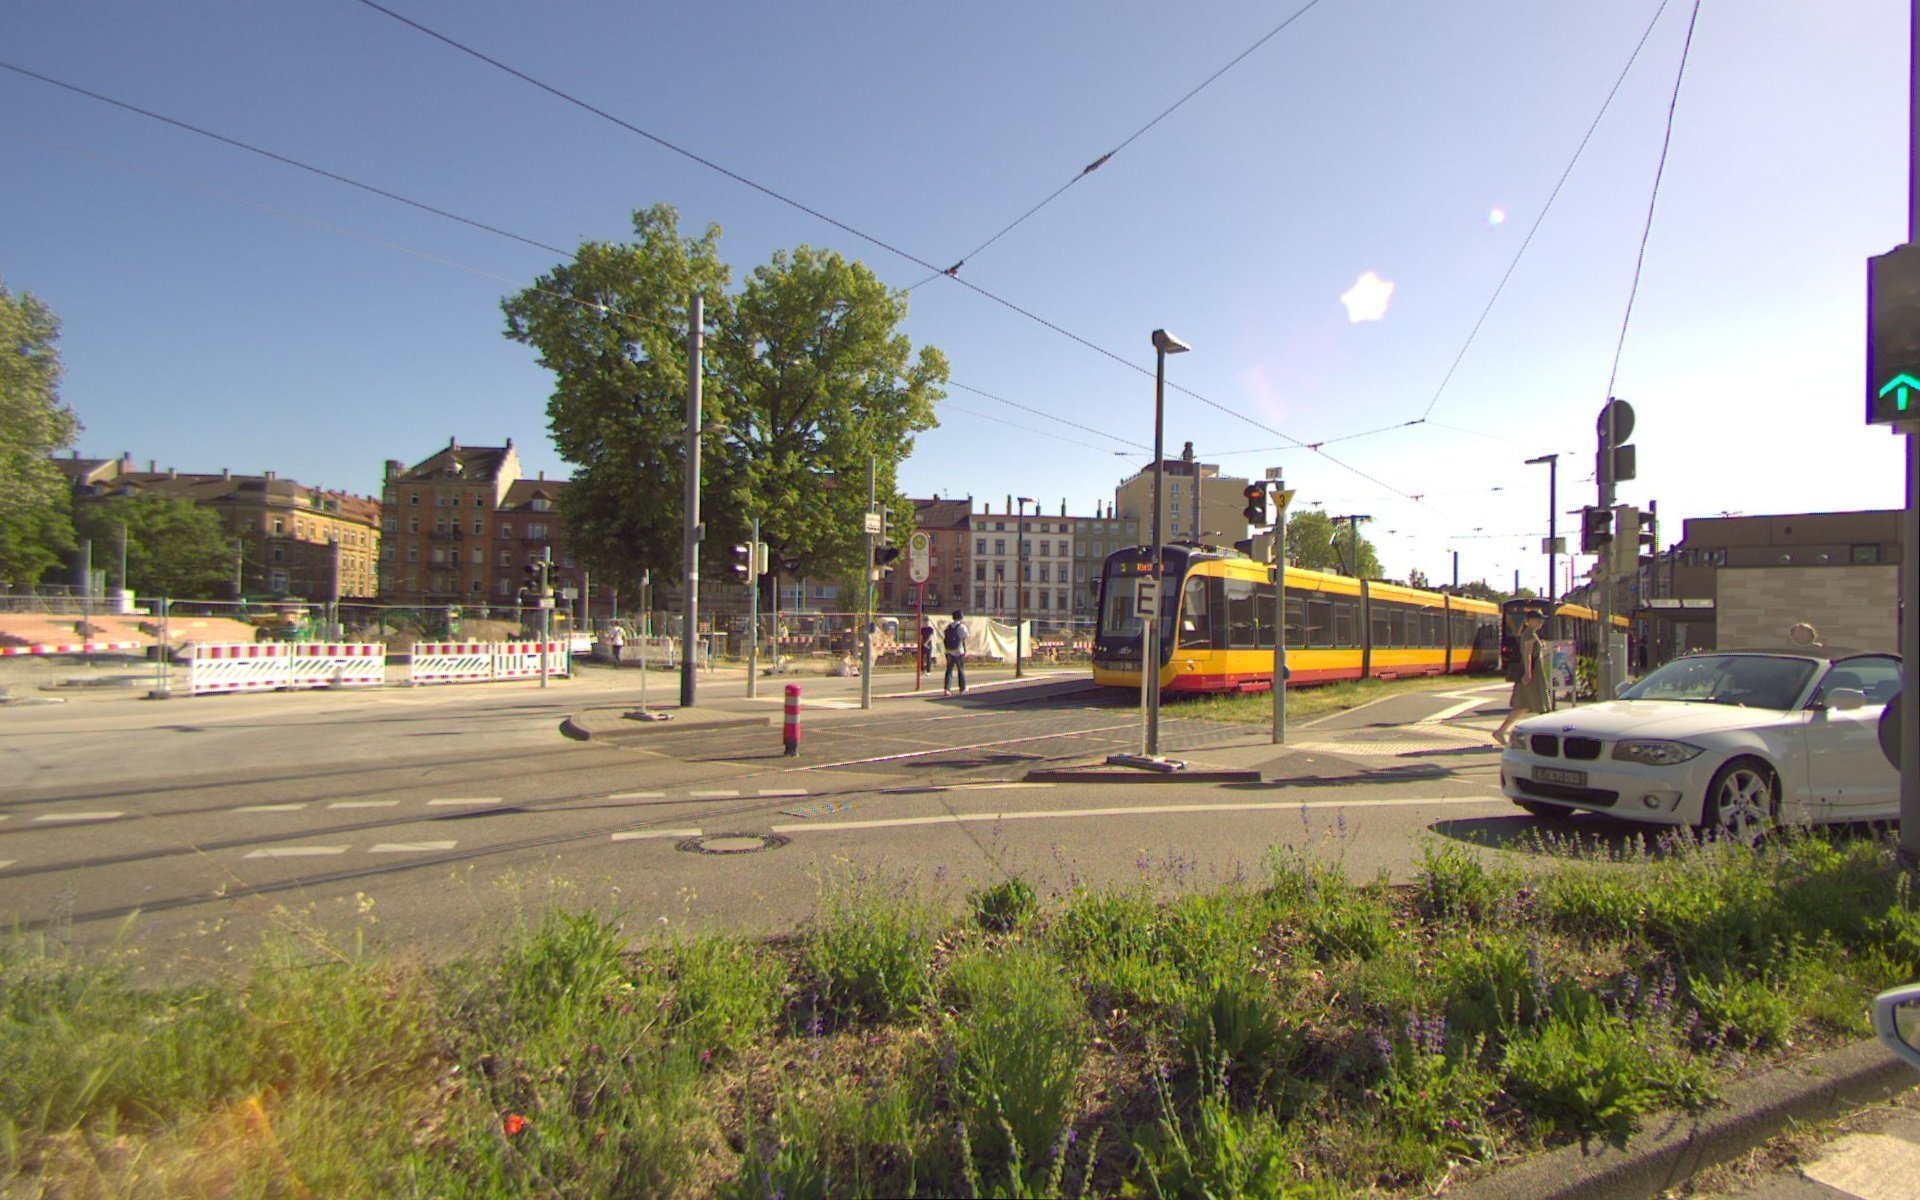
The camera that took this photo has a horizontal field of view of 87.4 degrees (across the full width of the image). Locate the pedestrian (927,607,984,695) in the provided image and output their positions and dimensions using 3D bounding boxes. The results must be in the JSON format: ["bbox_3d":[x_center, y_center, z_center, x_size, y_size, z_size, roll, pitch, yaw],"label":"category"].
[{"bbox_3d":[-0.094,1.117,21.856,0.749,1.856,1.015,-3,-5,39],"label":"pedestrian"}]

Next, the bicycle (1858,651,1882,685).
[{"bbox_3d":[31.284,2.326,34.545,0.574,1.102,1.862,1,-2,41],"label":"bicycle"}]

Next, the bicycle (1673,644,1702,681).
[{"bbox_3d":[23.222,1.986,32.044,0.559,1.108,2.020,1,-2,41],"label":"bicycle"}]

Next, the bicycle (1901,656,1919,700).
[{"bbox_3d":[24.221,1.982,25.411,0.574,1.072,1.806,1,-2,43],"label":"bicycle"}]

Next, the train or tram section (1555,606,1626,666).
[{"bbox_3d":[40.513,2.293,64.359,2.835,3.554,10.502,1,-1,37],"label":"train or tram section"}]

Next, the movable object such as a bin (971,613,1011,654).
[{"bbox_3d":[2.193,2.395,72.797,1.802,2.832,3.990,3,-1,-13],"label":"movable object such as a bin"}]

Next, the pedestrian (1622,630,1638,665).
[{"bbox_3d":[37.067,2.644,55.582,0.625,1.881,0.699,1,-2,41],"label":"pedestrian"}]

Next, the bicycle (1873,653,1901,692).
[{"bbox_3d":[27.569,2.146,29.882,0.574,1.102,2.047,1,-2,43],"label":"bicycle"}]

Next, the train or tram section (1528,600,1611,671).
[{"bbox_3d":[34.144,1.982,56.071,2.835,3.554,10.502,1,-2,37],"label":"train or tram section"}]

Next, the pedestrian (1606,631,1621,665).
[{"bbox_3d":[36.132,2.649,55.517,0.623,1.881,0.701,2,-1,33],"label":"pedestrian"}]

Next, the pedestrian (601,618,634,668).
[{"bbox_3d":[-12.430,1.551,36.443,0.857,1.791,0.963,2,-2,-38],"label":"pedestrian"}]

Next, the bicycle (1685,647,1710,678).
[{"bbox_3d":[27.233,2.312,37.086,0.559,1.108,2.020,1,-2,41],"label":"bicycle"}]

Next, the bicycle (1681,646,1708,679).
[{"bbox_3d":[25.542,2.174,34.918,0.559,1.108,2.020,1,-2,41],"label":"bicycle"}]

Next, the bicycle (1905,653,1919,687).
[{"bbox_3d":[32.245,2.349,33.757,0.573,1.102,1.863,1,-2,40],"label":"bicycle"}]

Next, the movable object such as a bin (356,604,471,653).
[{"bbox_3d":[-34.556,1.813,63.718,5.978,2.795,1.890,3,-1,-11],"label":"movable object such as a bin"}]

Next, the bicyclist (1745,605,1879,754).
[{"bbox_3d":[10.109,0.926,11.938,1.047,1.666,0.877,2,-2,-27],"label":"bicyclist"}]

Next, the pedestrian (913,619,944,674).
[{"bbox_3d":[-1.026,1.515,33.035,0.659,1.791,0.797,0,-2,37],"label":"pedestrian"}]

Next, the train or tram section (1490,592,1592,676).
[{"bbox_3d":[27.784,1.626,47.720,2.835,3.554,10.502,1,-2,37],"label":"train or tram section"}]

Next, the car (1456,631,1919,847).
[{"bbox_3d":[6.284,1.073,8.043,4.027,1.411,1.800,3,-4,-17],"label":"car"}]

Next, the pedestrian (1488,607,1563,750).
[{"bbox_3d":[7.775,1.039,13.813,0.886,1.875,0.762,0,1,31],"label":"pedestrian"}]

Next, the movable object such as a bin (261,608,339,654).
[{"bbox_3d":[-36.527,1.712,55.693,1.859,2.377,4.224,3,-1,-8],"label":"movable object such as a bin"}]

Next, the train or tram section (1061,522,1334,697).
[{"bbox_3d":[6.472,0.380,25.426,2.782,3.554,10.440,0,-2,37],"label":"train or tram section"}]

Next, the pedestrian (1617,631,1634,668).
[{"bbox_3d":[34.212,2.538,51.631,0.597,1.881,0.790,2,-2,41],"label":"pedestrian"}]

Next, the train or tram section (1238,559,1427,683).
[{"bbox_3d":[12.802,0.761,33.664,2.782,3.554,10.568,1,-1,38],"label":"train or tram section"}]

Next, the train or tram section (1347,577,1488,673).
[{"bbox_3d":[19.428,1.085,42.117,2.782,3.554,11.164,1,-1,38],"label":"train or tram section"}]

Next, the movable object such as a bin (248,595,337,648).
[{"bbox_3d":[-43.795,1.386,66.104,3.066,3.214,5.234,3,-1,-13],"label":"movable object such as a bin"}]

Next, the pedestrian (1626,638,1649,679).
[{"bbox_3d":[33.155,2.859,49.138,0.836,1.908,0.758,2,-1,37],"label":"pedestrian"}]
